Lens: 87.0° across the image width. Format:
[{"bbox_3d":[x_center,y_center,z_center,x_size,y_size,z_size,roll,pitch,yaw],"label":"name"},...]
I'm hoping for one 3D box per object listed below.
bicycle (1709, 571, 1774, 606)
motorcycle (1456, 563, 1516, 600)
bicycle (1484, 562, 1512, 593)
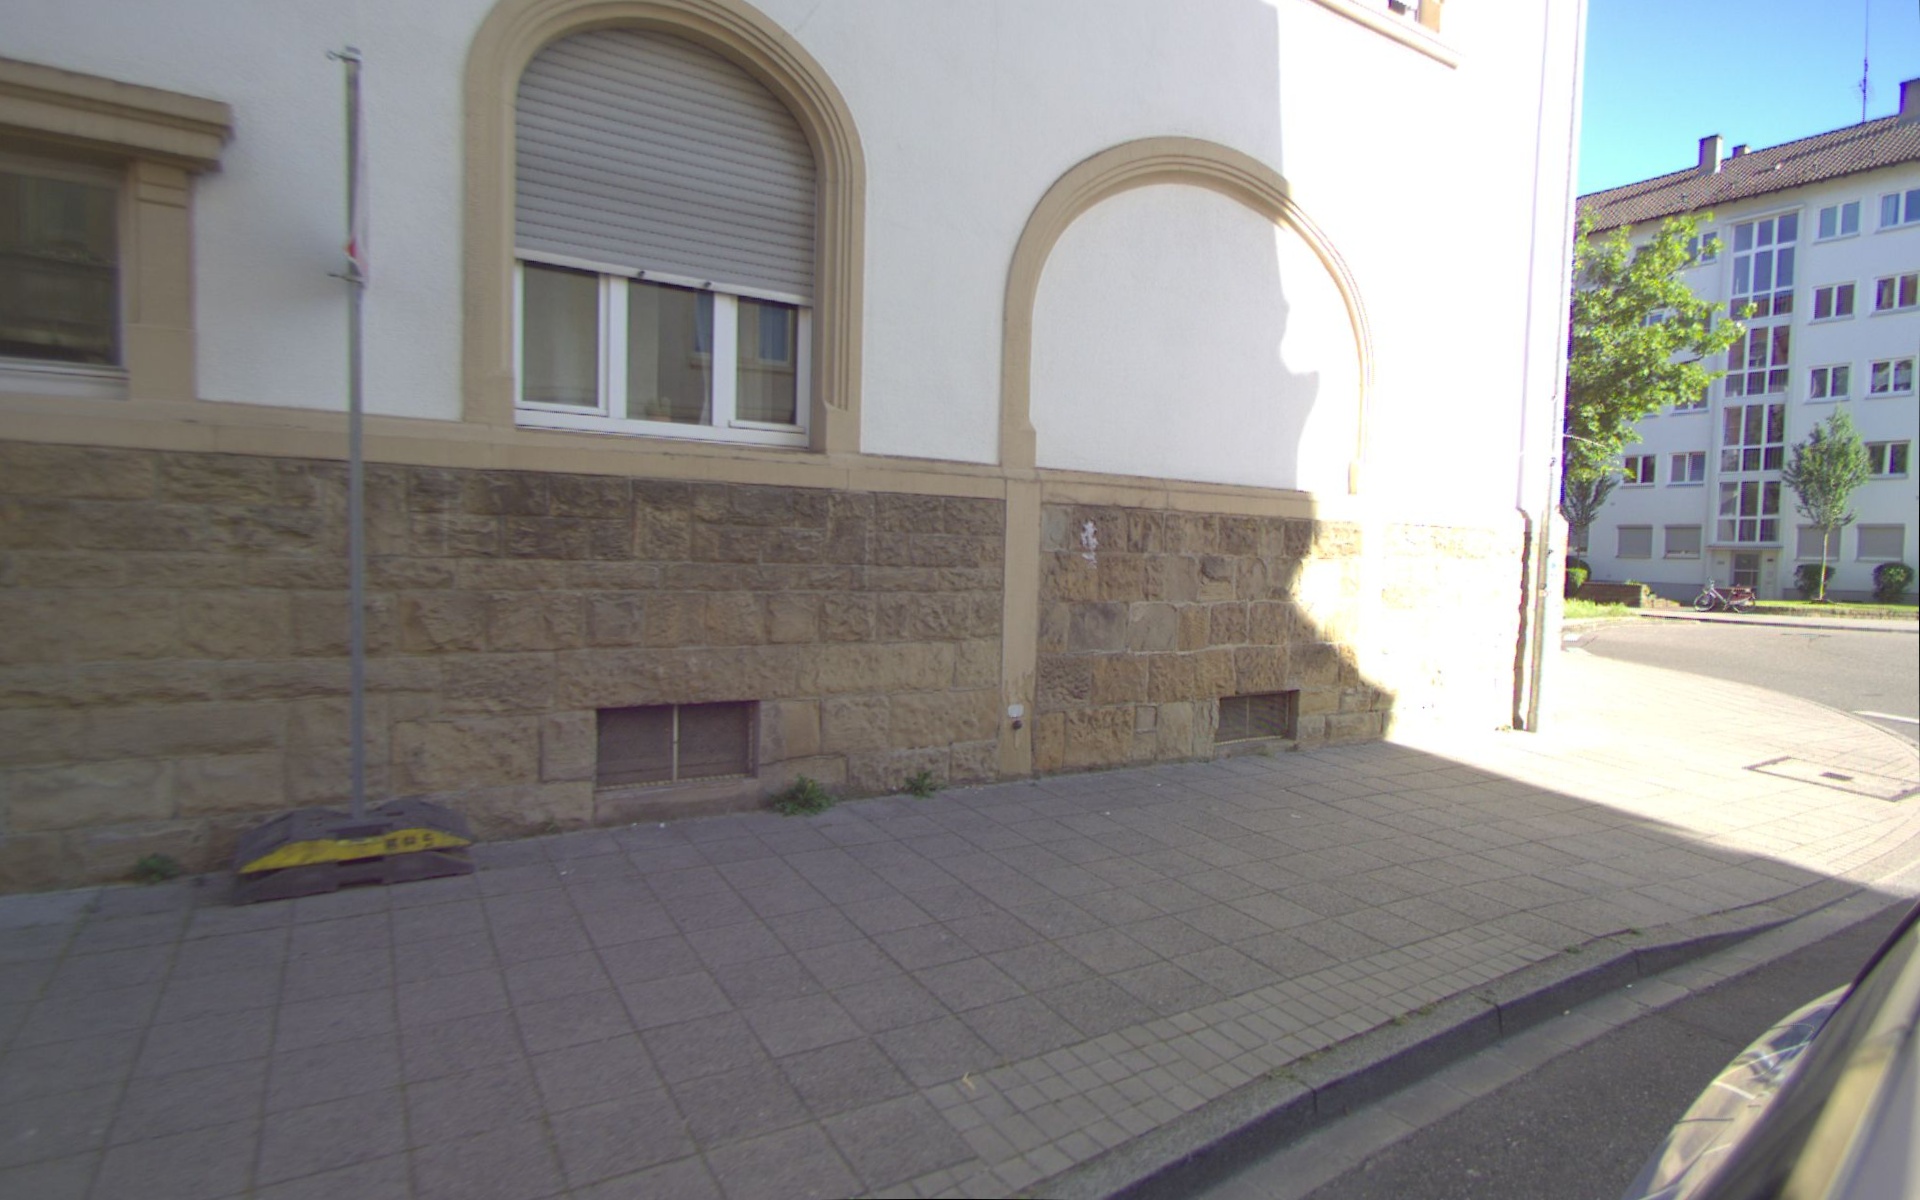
[{"bbox_3d":[25.483,-0.383,33.007,0.377,1.091,1.624,-3,4,-38],"label":"bicycle"},{"bbox_3d":[16.203,-0.575,31.161,1.809,1.086,0.815,0,2,-33],"label":"motorcycle"},{"bbox_3d":[20.011,-0.839,37.651,1.423,1.069,0.331,-4,4,-35],"label":"bicycle"}]
